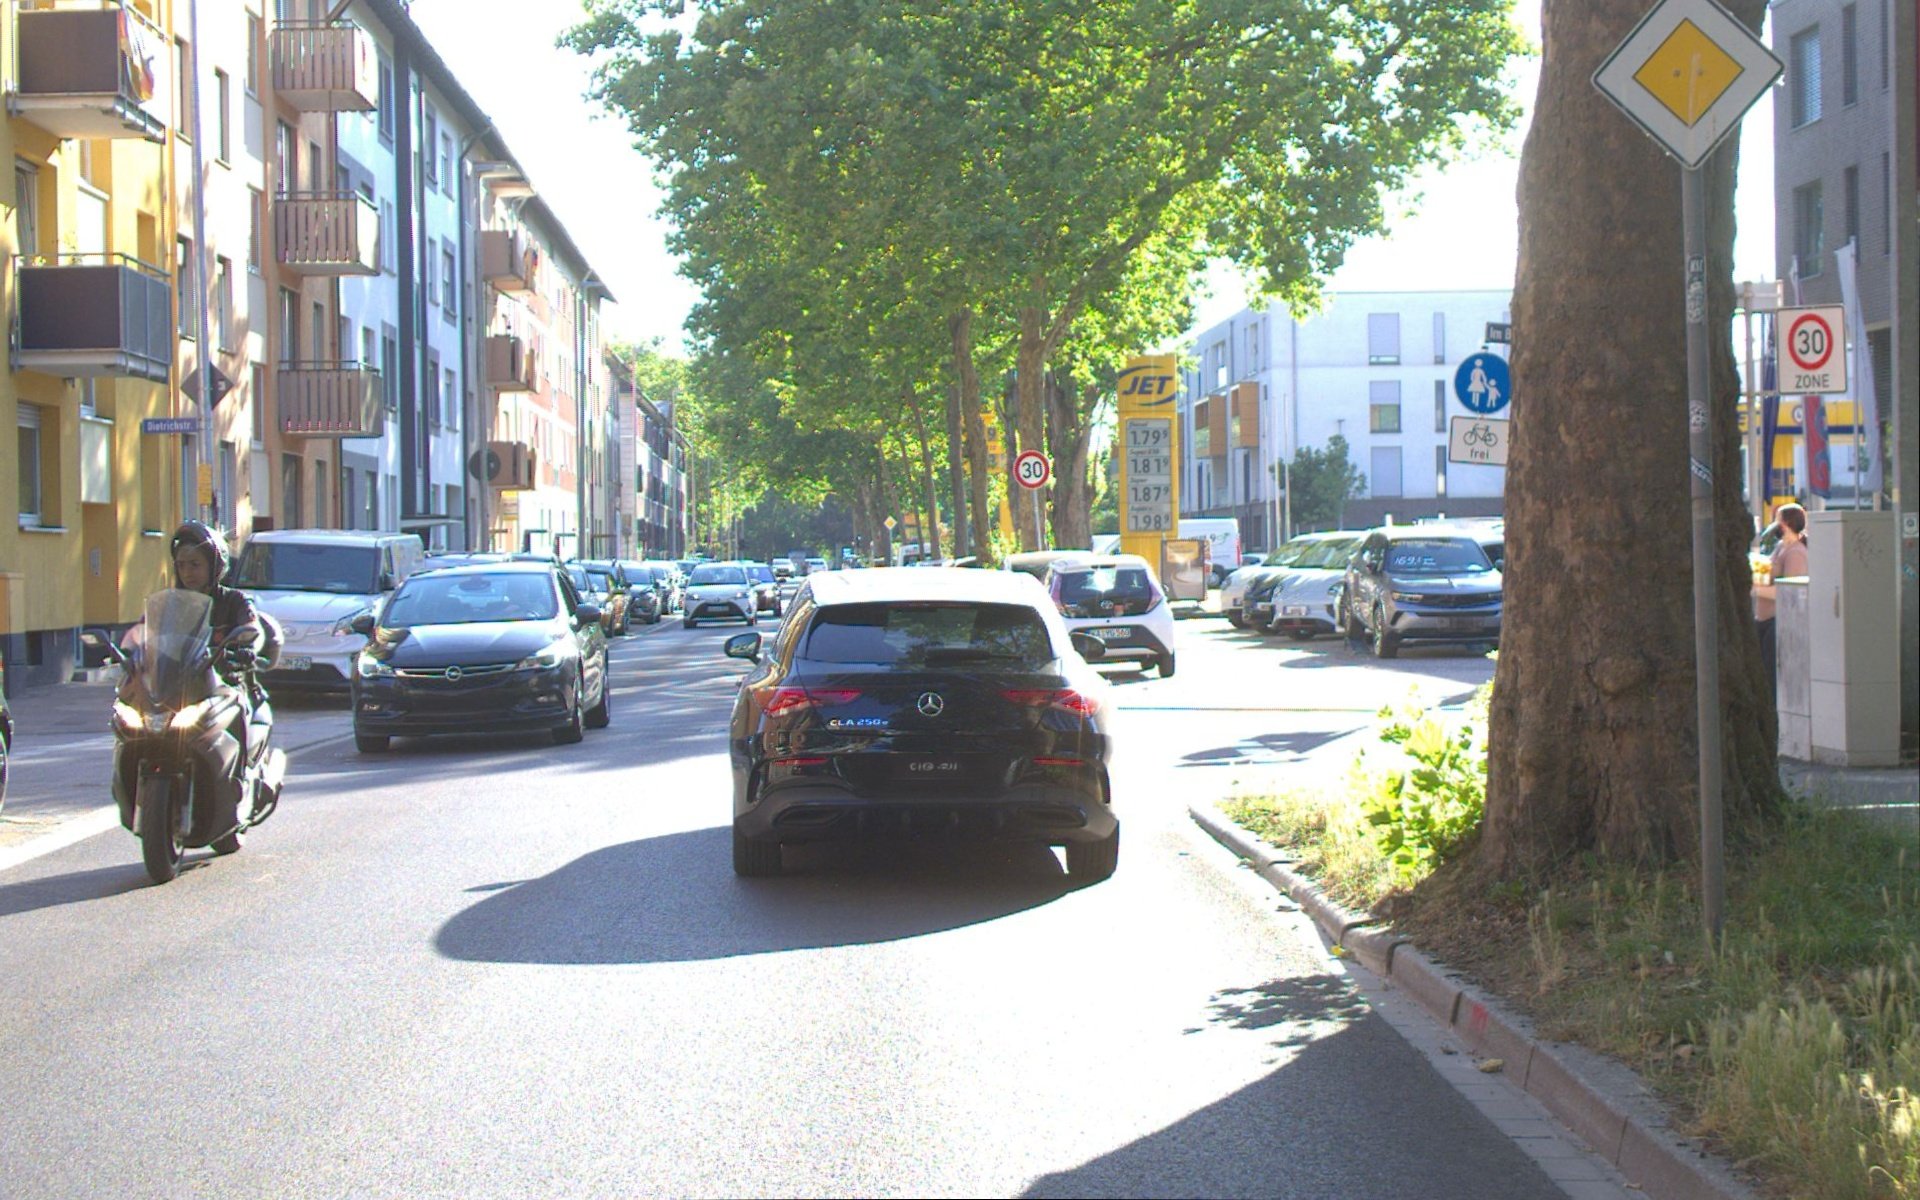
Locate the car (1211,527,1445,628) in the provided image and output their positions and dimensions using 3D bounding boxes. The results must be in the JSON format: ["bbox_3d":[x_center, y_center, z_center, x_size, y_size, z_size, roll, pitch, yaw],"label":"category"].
[{"bbox_3d":[6.316,-0.400,58.829,3.808,1.573,1.746,-3,2,-39],"label":"car"}]

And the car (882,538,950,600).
[{"bbox_3d":[-1.492,-1.028,115.201,1.993,2.007,4.000,0,-1,-5],"label":"car"}]

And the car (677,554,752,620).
[{"bbox_3d":[-5.840,-0.338,82.074,1.639,1.518,3.934,0,1,-2],"label":"car"}]

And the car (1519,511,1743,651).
[{"bbox_3d":[8.798,-0.268,45.434,1.825,1.726,4.369,-1,1,-4],"label":"car"}]

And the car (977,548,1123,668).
[{"bbox_3d":[1.248,0.106,49.383,1.810,1.533,4.583,-3,0,-1],"label":"car"}]

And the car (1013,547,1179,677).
[{"bbox_3d":[1.640,0.141,42.556,1.635,1.463,4.021,-2,0,-3],"label":"car"}]

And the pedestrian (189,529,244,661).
[{"bbox_3d":[-10.208,-0.072,47.217,0.587,1.784,0.642,-1,1,-1],"label":"pedestrian"}]

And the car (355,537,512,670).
[{"bbox_3d":[-7.447,0.013,48.972,1.745,1.781,4.550,1,1,-3],"label":"car"}]

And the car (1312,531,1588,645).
[{"bbox_3d":[7.082,-0.189,49.549,3.807,1.540,1.662,-2,1,-35],"label":"car"}]

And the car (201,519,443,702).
[{"bbox_3d":[-7.054,0.072,38.485,1.734,1.900,5.209,0,1,0],"label":"car"}]

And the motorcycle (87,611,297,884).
[{"bbox_3d":[-3.849,0.702,17.381,0.547,1.237,2.264,-3,0,-1],"label":"motorcycle"}]

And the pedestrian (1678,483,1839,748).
[{"bbox_3d":[5.477,0.098,23.589,0.767,1.755,0.664,-3,1,-19],"label":"pedestrian"}]

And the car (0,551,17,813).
[{"bbox_3d":[-6.411,0.492,18.265,1.678,1.518,4.021,1,1,0],"label":"car"}]

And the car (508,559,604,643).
[{"bbox_3d":[-7.680,-0.012,65.598,1.547,1.518,4.005,1,1,-3],"label":"car"}]

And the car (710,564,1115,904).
[{"bbox_3d":[-0.138,0.561,16.945,1.744,1.438,3.969,1,1,2],"label":"car"}]

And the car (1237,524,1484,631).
[{"bbox_3d":[6.456,-0.374,55.279,3.808,1.573,1.741,-3,2,-39],"label":"car"}]

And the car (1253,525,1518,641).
[{"bbox_3d":[6.465,-0.274,52.091,3.808,1.604,1.741,-3,2,-37],"label":"car"}]

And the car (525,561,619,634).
[{"bbox_3d":[-8.034,-0.070,71.446,1.596,1.429,4.217,1,1,-2],"label":"car"}]

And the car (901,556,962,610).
[{"bbox_3d":[-0.864,-0.510,102.111,1.633,1.552,3.601,1,0,-3],"label":"car"}]

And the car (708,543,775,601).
[{"bbox_3d":[-5.994,-0.790,94.737,1.663,1.518,4.412,-2,1,-2],"label":"car"}]

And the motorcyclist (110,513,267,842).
[{"bbox_3d":[-3.871,0.374,17.285,0.585,1.600,0.831,-1,1,-1],"label":"motorcyclist"}]

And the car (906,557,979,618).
[{"bbox_3d":[-0.476,-0.329,90.057,1.722,1.552,3.601,1,0,-3],"label":"car"}]

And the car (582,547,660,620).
[{"bbox_3d":[-7.785,-0.404,79.218,1.596,1.624,3.838,1,1,-3],"label":"car"}]

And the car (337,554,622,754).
[{"bbox_3d":[-3.864,0.379,28.271,1.771,1.473,4.322,-1,1,-1],"label":"car"}]

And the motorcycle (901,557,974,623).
[{"bbox_3d":[-0.547,-0.234,82.823,1.641,1.552,0.612,1,0,-23],"label":"motorcycle"}]

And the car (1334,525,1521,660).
[{"bbox_3d":[6.103,-0.130,45.304,1.752,1.664,4.158,-1,1,-2],"label":"car"}]

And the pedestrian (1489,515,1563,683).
[{"bbox_3d":[5.881,-0.013,35.686,0.692,1.717,0.721,-1,1,12],"label":"pedestrian"}]
